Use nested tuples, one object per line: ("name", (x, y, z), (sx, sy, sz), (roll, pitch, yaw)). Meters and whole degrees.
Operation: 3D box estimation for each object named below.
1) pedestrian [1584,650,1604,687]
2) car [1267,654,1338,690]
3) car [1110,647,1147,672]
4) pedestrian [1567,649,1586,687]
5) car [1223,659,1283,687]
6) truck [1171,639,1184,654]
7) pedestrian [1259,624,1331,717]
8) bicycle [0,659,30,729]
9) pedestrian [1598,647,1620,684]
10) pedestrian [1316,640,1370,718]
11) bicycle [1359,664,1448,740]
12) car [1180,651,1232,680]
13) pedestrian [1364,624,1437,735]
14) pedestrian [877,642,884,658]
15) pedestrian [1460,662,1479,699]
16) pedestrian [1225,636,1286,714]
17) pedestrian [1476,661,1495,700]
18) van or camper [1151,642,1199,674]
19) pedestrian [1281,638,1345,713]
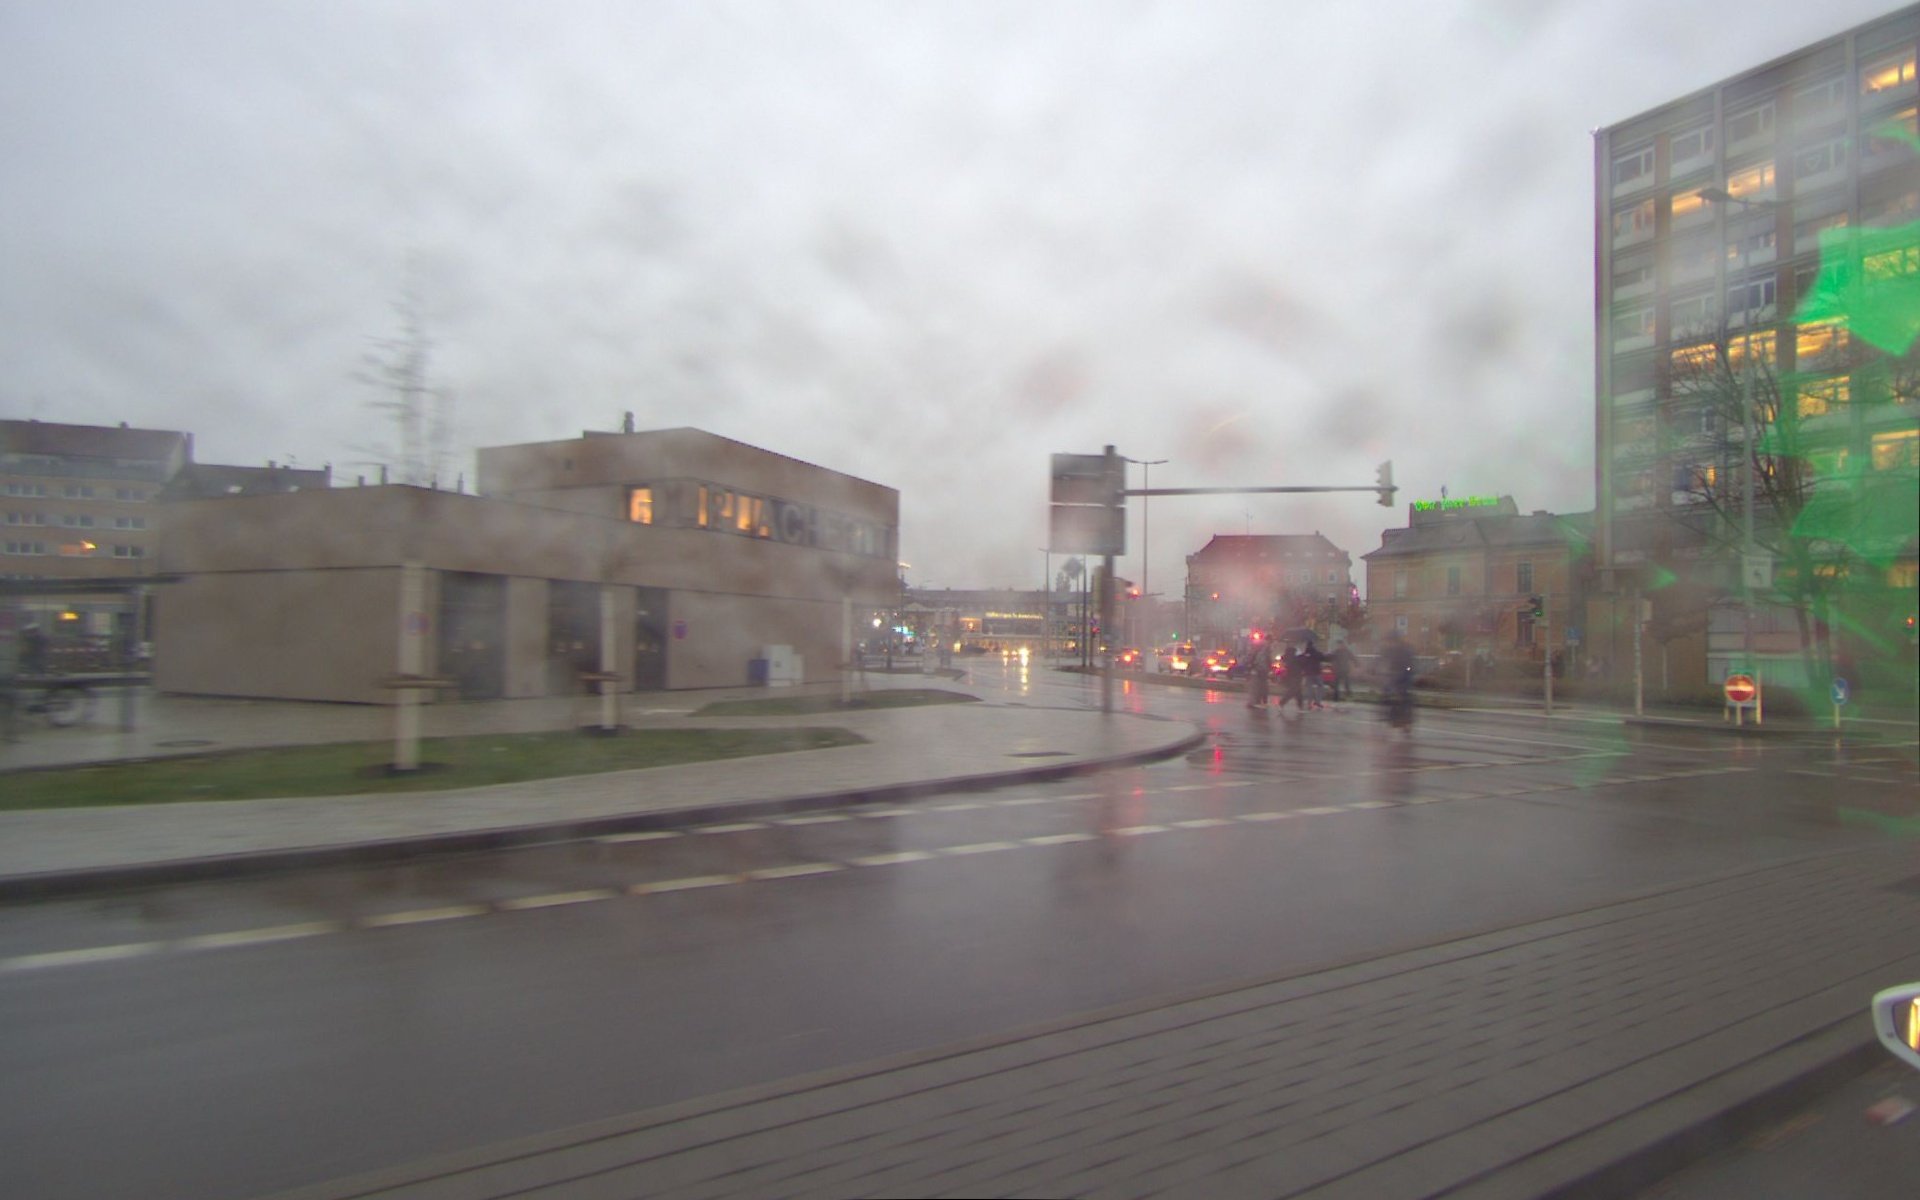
("pedestrian", (29.991, 3.224, 47.531), (0.657, 1.710, 0.611), (-2, -1, 22))
("car", (16.824, 3.524, 49.545), (1.676, 1.501, 3.866), (4, -3, -9))
("car", (12.387, 4.358, 73.918), (1.854, 1.795, 3.999), (2, -3, -3))
("pedestrian", (29.388, 3.246, 47.860), (0.574, 1.804, 0.769), (-2, -3, 21))
("car", (16.343, 4.070, 56.198), (1.634, 1.422, 4.116), (3, -3, -8))
("truck", (39.174, 8.351, 180.914), (1.960, 2.726, 5.119), (0, -3, 14))
("pedestrian", (7.775, 1.625, 23.349), (1.194, 2.077, 1.032), (2, 0, -13))
("bicycle", (-16.356, 1.508, 15.622), (0.596, 1.119, 2.750), (2, -2, 22))
("pedestrian", (30.685, 3.093, 47.500), (0.706, 1.710, 0.760), (-1, -3, 21))
("pedestrian", (10.479, 2.152, 27.502), (1.088, 2.032, 0.848), (2, 0, -3))
("bicycle", (7.355, 1.655, 16.620), (1.859, 1.191, 0.616), (3, -5, -42))
("car", (15.413, 4.096, 63.208), (1.757, 1.621, 4.539), (4, -3, -5))
("pedestrian", (7.252, 1.289, 16.535), (0.975, 1.756, 0.709), (2, -4, -42))
("pedestrian", (-9.518, 6.010, 120.389), (0.819, 1.844, 0.695), (0, -2, -10))
("pedestrian", (28.107, 4.425, 55.398), (0.794, 1.956, 0.760), (2, 0, 22))
("pedestrian", (7.470, 1.869, 25.393), (1.028, 1.882, 1.057), (2, 0, -42))
("pedestrian", (28.996, 4.422, 55.417), (0.794, 2.040, 0.760), (2, 0, 22))
("van or camper", (15.322, 4.114, 71.842), (2.166, 2.137, 4.988), (2, -3, -2))
("pedestrian", (9.412, 1.994, 26.798), (1.025, 1.882, 1.223), (2, 0, -34))
